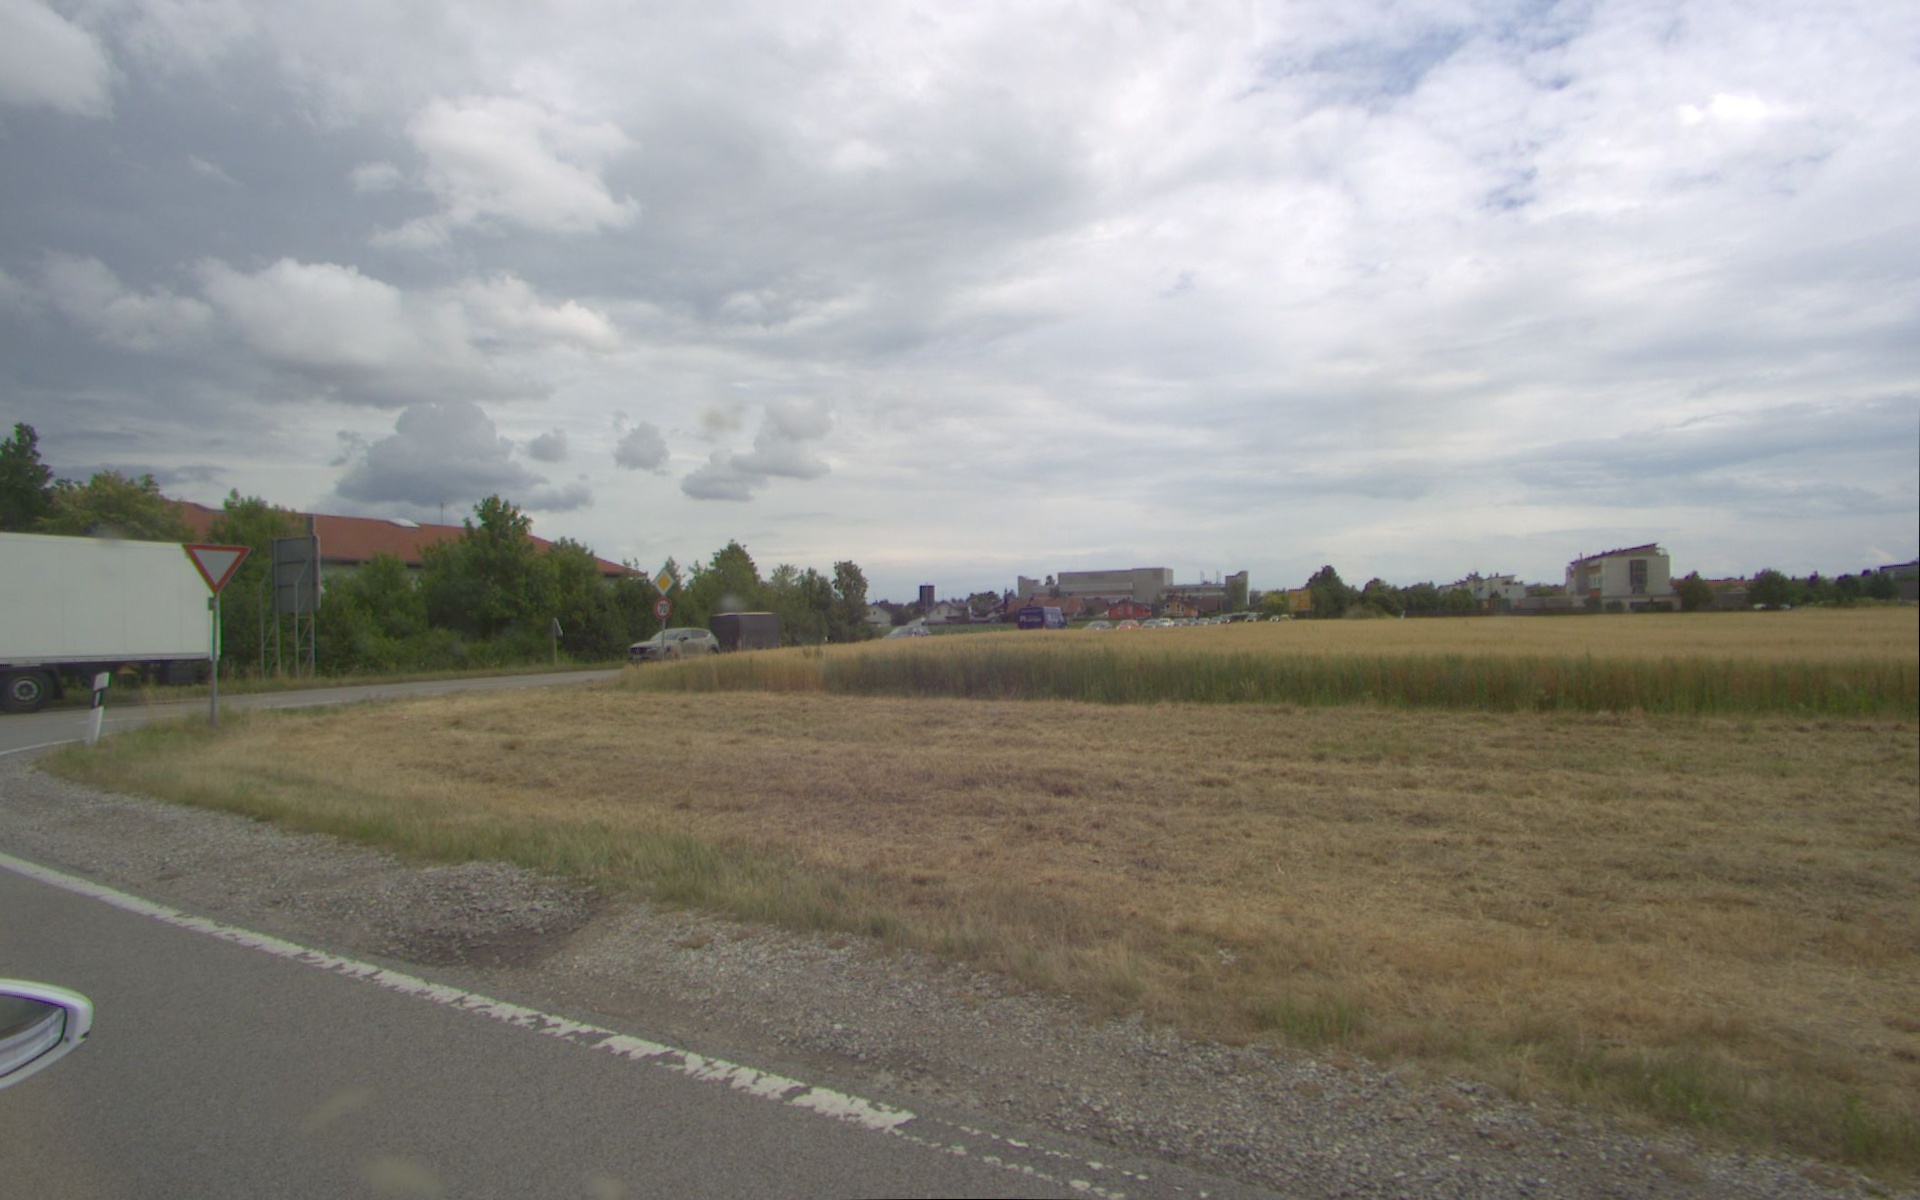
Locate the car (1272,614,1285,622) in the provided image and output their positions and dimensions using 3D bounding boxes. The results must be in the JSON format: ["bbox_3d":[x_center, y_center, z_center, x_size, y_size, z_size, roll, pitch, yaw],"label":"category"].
[{"bbox_3d":[63.441,3.543,199.468,1.826,1.486,3.986,-1,-1,26],"label":"car"}]

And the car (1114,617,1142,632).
[{"bbox_3d":[17.279,2.508,102.933,1.826,1.486,3.986,-1,-1,26],"label":"car"}]

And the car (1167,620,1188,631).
[{"bbox_3d":[26.685,3.134,122.612,1.826,1.287,3.519,-1,-1,25],"label":"car"}]

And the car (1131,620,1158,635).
[{"bbox_3d":[20.139,2.966,109.159,1.826,1.486,3.986,-1,-1,26],"label":"car"}]

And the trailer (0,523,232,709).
[{"bbox_3d":[-23.308,0.375,20.468,3.079,4.065,13.843,-3,-2,25],"label":"trailer"}]

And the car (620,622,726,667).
[{"bbox_3d":[-12.186,1.874,42.843,1.967,1.704,4.466,-2,-1,23],"label":"car"}]

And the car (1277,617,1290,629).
[{"bbox_3d":[58.407,4.140,180.900,1.966,1.916,3.989,-1,1,22],"label":"car"}]

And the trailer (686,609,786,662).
[{"bbox_3d":[-10.431,1.616,46.965,2.378,2.322,4.383,-2,-1,24],"label":"trailer"}]

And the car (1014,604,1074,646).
[{"bbox_3d":[5.712,1.650,67.440,2.115,2.674,5.549,0,0,26],"label":"car"}]

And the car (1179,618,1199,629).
[{"bbox_3d":[29.663,3.053,129.841,1.826,1.287,3.519,-1,-1,25],"label":"car"}]

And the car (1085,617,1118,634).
[{"bbox_3d":[13.353,2.401,94.011,1.967,1.483,4.148,-2,-1,24],"label":"car"}]

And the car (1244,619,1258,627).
[{"bbox_3d":[50.066,3.949,172.335,1.826,1.287,3.519,-1,-1,25],"label":"car"}]

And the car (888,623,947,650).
[{"bbox_3d":[-2.631,2.273,62.867,1.968,1.506,4.287,-2,-1,25],"label":"car"}]

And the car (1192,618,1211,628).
[{"bbox_3d":[33.065,3.177,136.948,1.826,1.287,3.519,-1,-1,25],"label":"car"}]

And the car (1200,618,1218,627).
[{"bbox_3d":[35.543,3.210,143.023,1.826,1.287,3.519,-1,-1,25],"label":"car"}]
